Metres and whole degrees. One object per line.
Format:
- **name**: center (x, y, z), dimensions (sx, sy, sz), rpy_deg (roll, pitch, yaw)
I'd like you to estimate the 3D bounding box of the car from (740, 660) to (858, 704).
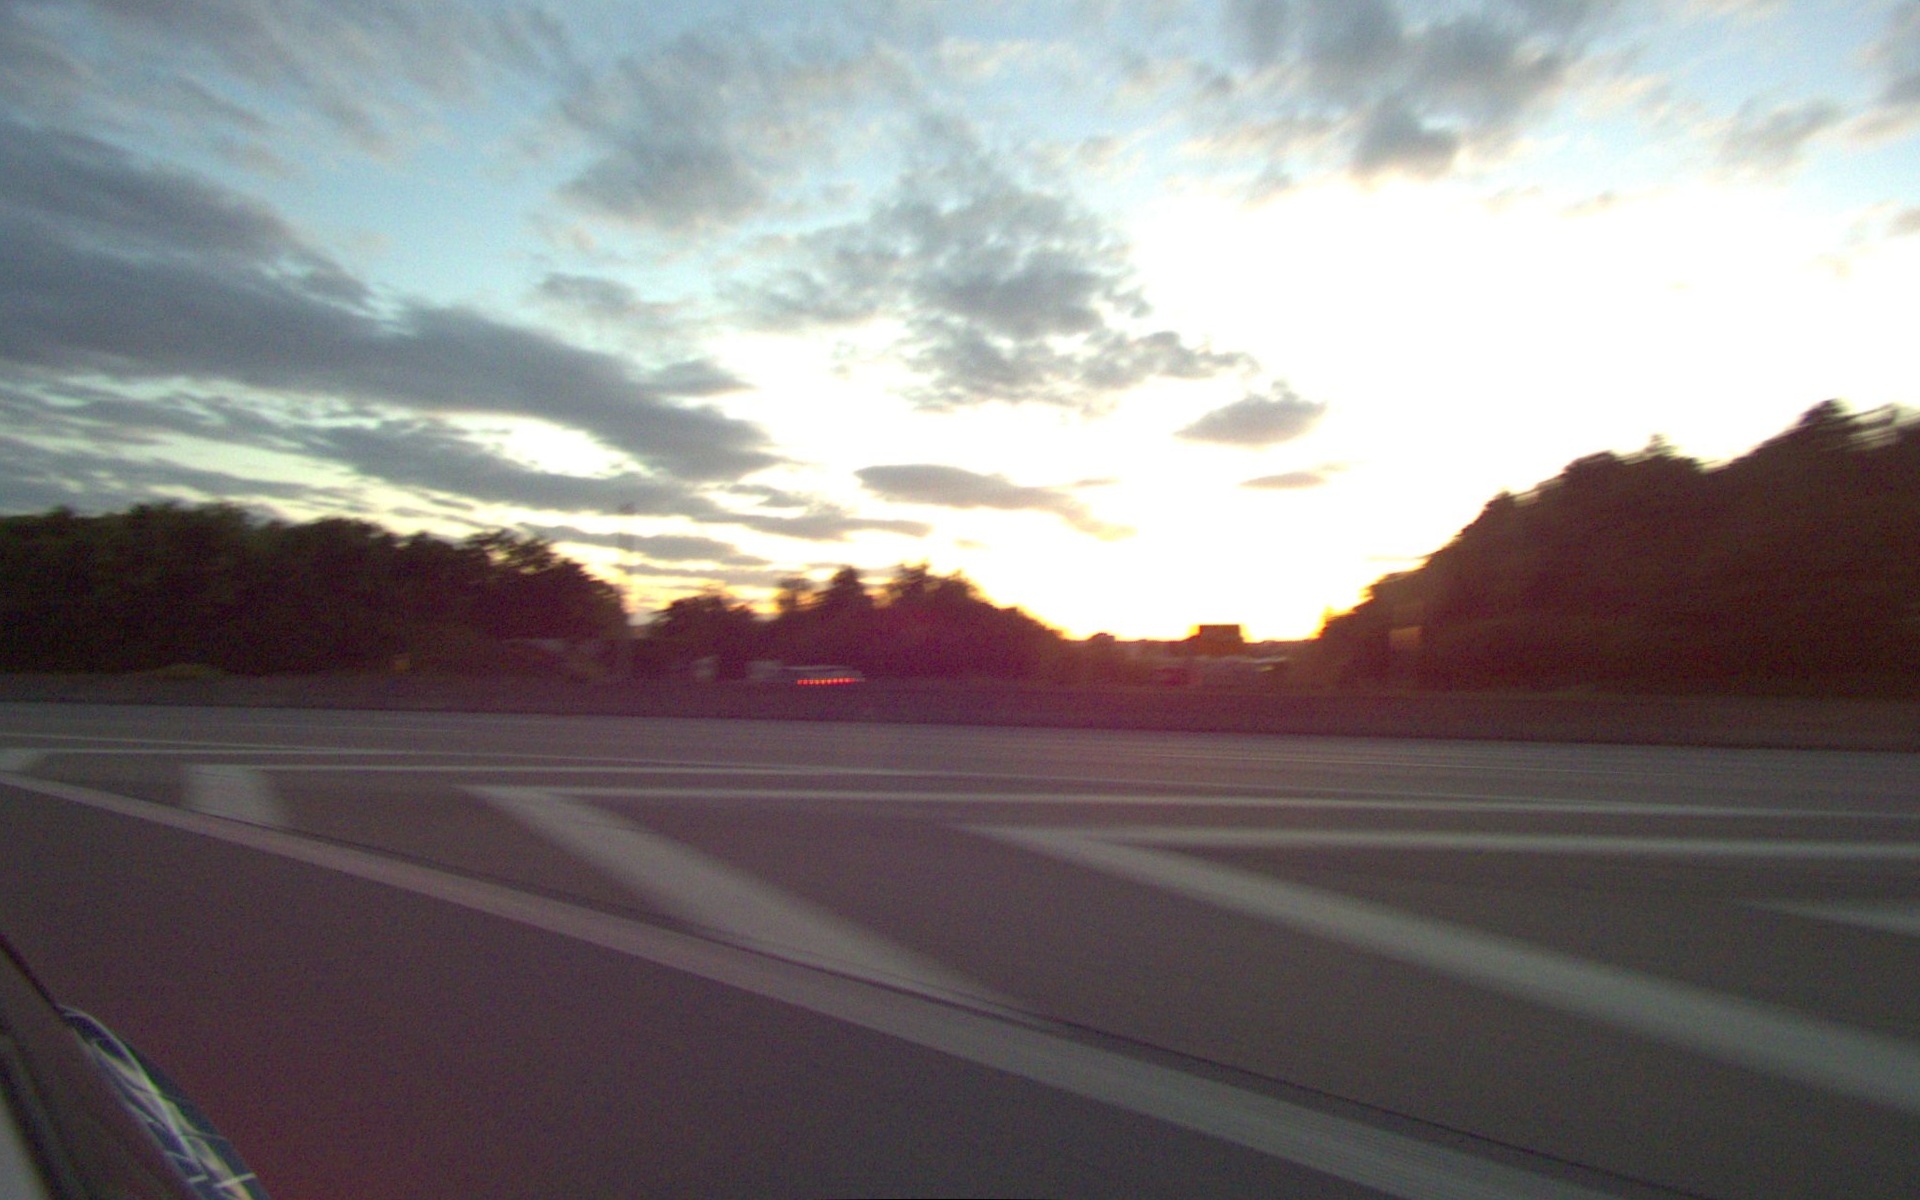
- **car**: center (-6.090, 3.087, 38.455), dimensions (3.965, 1.523, 1.989), rpy_deg (-1, -1, 17)
